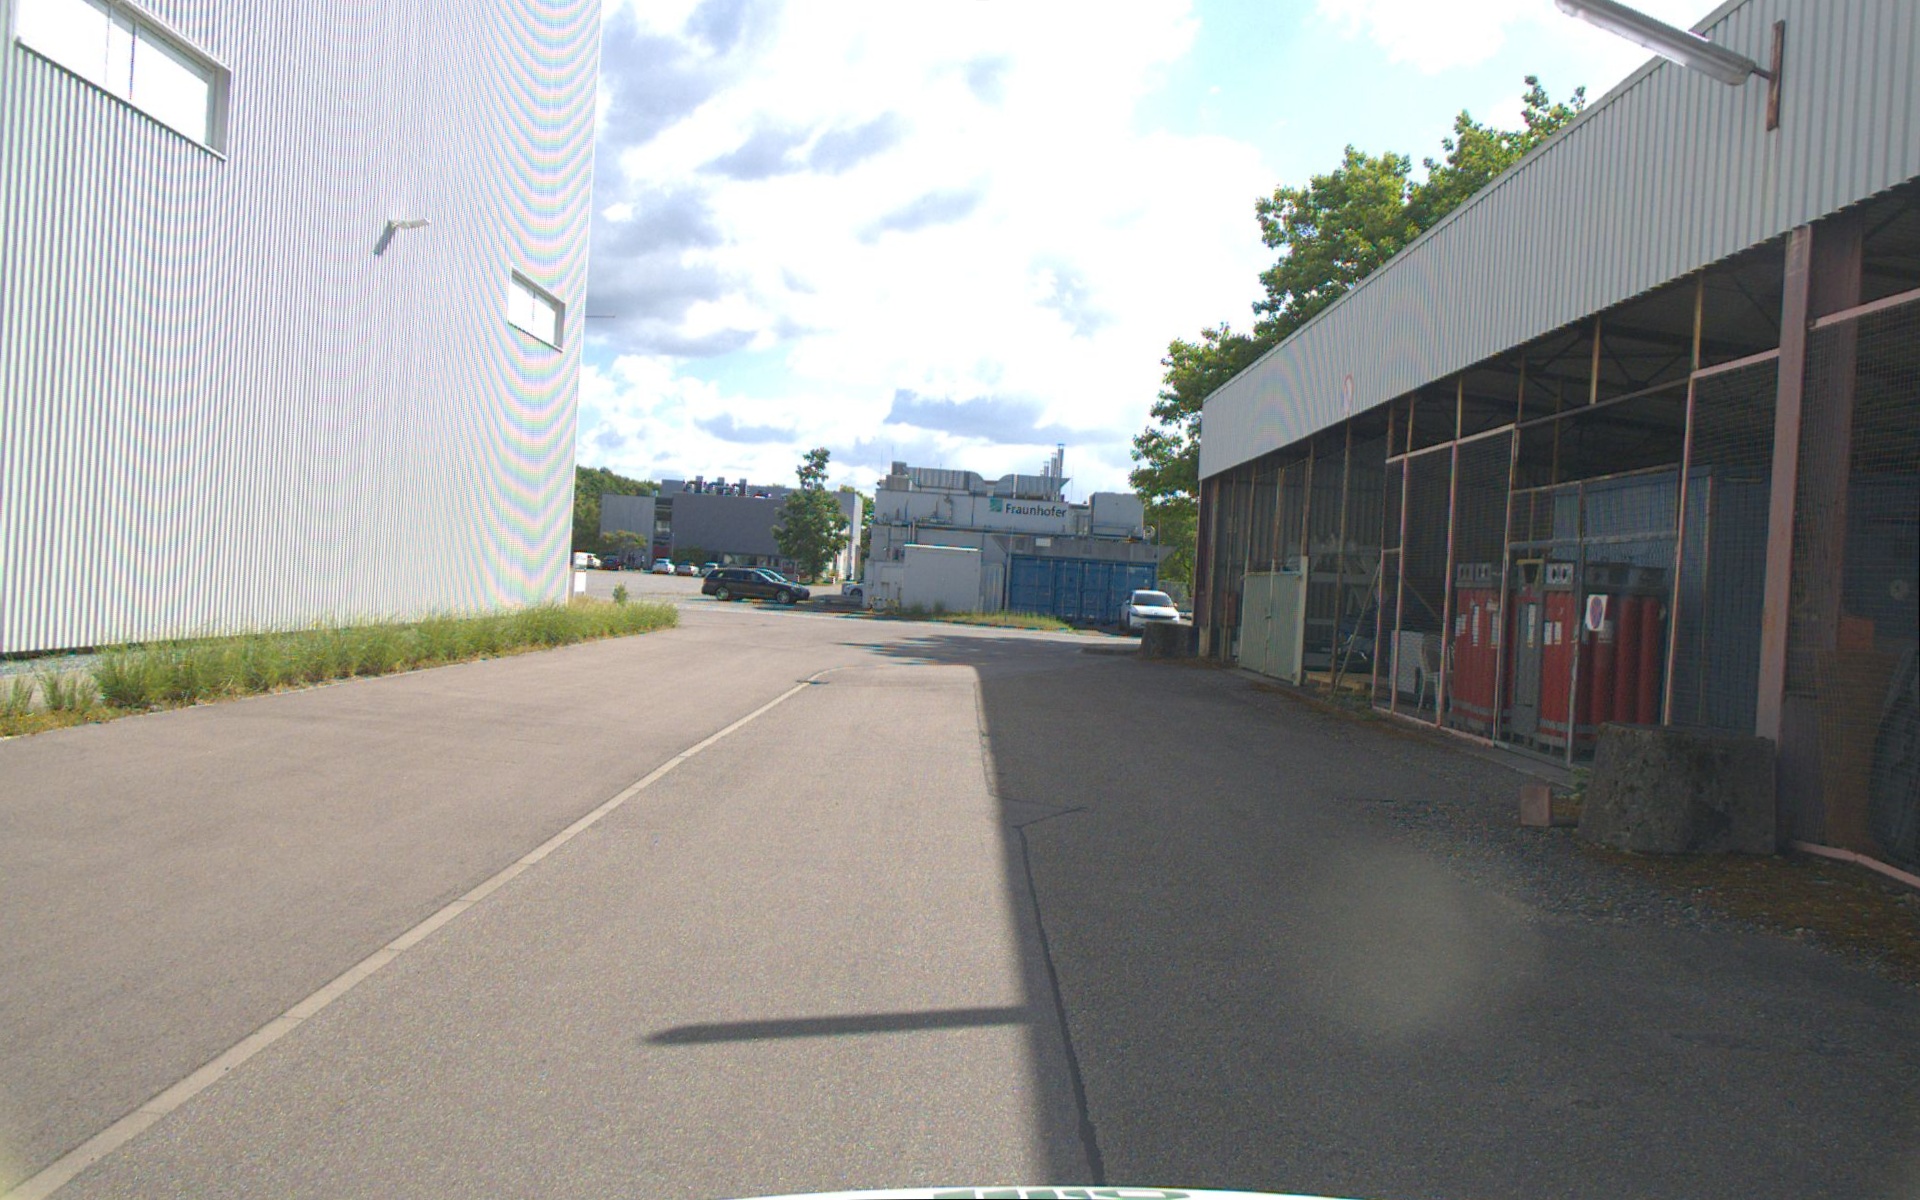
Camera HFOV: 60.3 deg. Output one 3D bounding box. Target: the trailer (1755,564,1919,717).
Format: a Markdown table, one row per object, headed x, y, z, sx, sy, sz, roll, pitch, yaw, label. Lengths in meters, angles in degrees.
| x | y | z | sx | sy | sz | roll | pitch | yaw | label |
| --- | --- | --- | --- | --- | --- | --- | --- | --- | --- |
| 14.552 | 0.630 | 25.529 | 3.334 | 2.175 | 2.465 | 3 | 1 | 2 | trailer |

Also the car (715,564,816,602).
| x | y | z | sx | sy | sz | roll | pitch | yaw | label |
| --- | --- | --- | --- | --- | --- | --- | --- | --- | --- |
| -9.097 | -0.787 | 77.669 | 4.437 | 1.468 | 1.904 | 3 | -1 | 0 | car |

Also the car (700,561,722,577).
| x | y | z | sx | sy | sz | roll | pitch | yaw | label |
| --- | --- | --- | --- | --- | --- | --- | --- | --- | --- |
| -25.745 | -3.221 | 171.267 | 1.840 | 1.564 | 4.034 | 2 | 0 | -3 | car |

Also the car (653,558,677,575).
| x | y | z | sx | sy | sz | roll | pitch | yaw | label |
| --- | --- | --- | --- | --- | --- | --- | --- | --- | --- |
| -30.536 | -3.448 | 171.150 | 1.840 | 1.719 | 4.034 | 2 | 0 | -3 | car |

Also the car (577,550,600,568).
| x | y | z | sx | sy | sz | roll | pitch | yaw | label |
| --- | --- | --- | --- | --- | --- | --- | --- | --- | --- |
| -38.375 | -4.242 | 170.944 | 1.810 | 1.697 | 4.129 | 2 | 0 | -5 | car |

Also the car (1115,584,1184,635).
| x | y | z | sx | sy | sz | roll | pitch | yaw | label |
| --- | --- | --- | --- | --- | --- | --- | --- | --- | --- |
| 7.053 | 0.331 | 61.972 | 1.941 | 1.620 | 4.341 | 4 | 2 | -1 | car |

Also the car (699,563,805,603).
| x | y | z | sx | sy | sz | roll | pitch | yaw | label |
| --- | --- | --- | --- | --- | --- | --- | --- | --- | --- |
| -9.318 | -0.761 | 74.409 | 4.437 | 1.468 | 1.987 | 3 | -1 | 0 | car |

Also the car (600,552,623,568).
| x | y | z | sx | sy | sz | roll | pitch | yaw | label |
| --- | --- | --- | --- | --- | --- | --- | --- | --- | --- |
| -35.974 | -4.100 | 170.849 | 1.841 | 1.564 | 4.031 | 2 | 0 | -5 | car |

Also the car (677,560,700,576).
| x | y | z | sx | sy | sz | roll | pitch | yaw | label |
| --- | --- | --- | --- | --- | --- | --- | --- | --- | --- |
| -28.024 | -3.291 | 171.024 | 1.840 | 1.564 | 4.034 | 2 | 0 | -3 | car |

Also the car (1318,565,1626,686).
| x | y | z | sx | sy | sz | roll | pitch | yaw | label |
| --- | --- | --- | --- | --- | --- | --- | --- | --- | --- |
| 9.677 | 0.466 | 31.530 | 5.065 | 1.951 | 2.276 | 3 | 0 | -6 | car |

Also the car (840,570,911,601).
| x | y | z | sx | sy | sz | roll | pitch | yaw | label |
| --- | --- | --- | --- | --- | --- | --- | --- | --- | --- |
| -5.201 | -0.877 | 102.195 | 4.192 | 1.596 | 1.987 | 3 | -1 | 0 | car |
